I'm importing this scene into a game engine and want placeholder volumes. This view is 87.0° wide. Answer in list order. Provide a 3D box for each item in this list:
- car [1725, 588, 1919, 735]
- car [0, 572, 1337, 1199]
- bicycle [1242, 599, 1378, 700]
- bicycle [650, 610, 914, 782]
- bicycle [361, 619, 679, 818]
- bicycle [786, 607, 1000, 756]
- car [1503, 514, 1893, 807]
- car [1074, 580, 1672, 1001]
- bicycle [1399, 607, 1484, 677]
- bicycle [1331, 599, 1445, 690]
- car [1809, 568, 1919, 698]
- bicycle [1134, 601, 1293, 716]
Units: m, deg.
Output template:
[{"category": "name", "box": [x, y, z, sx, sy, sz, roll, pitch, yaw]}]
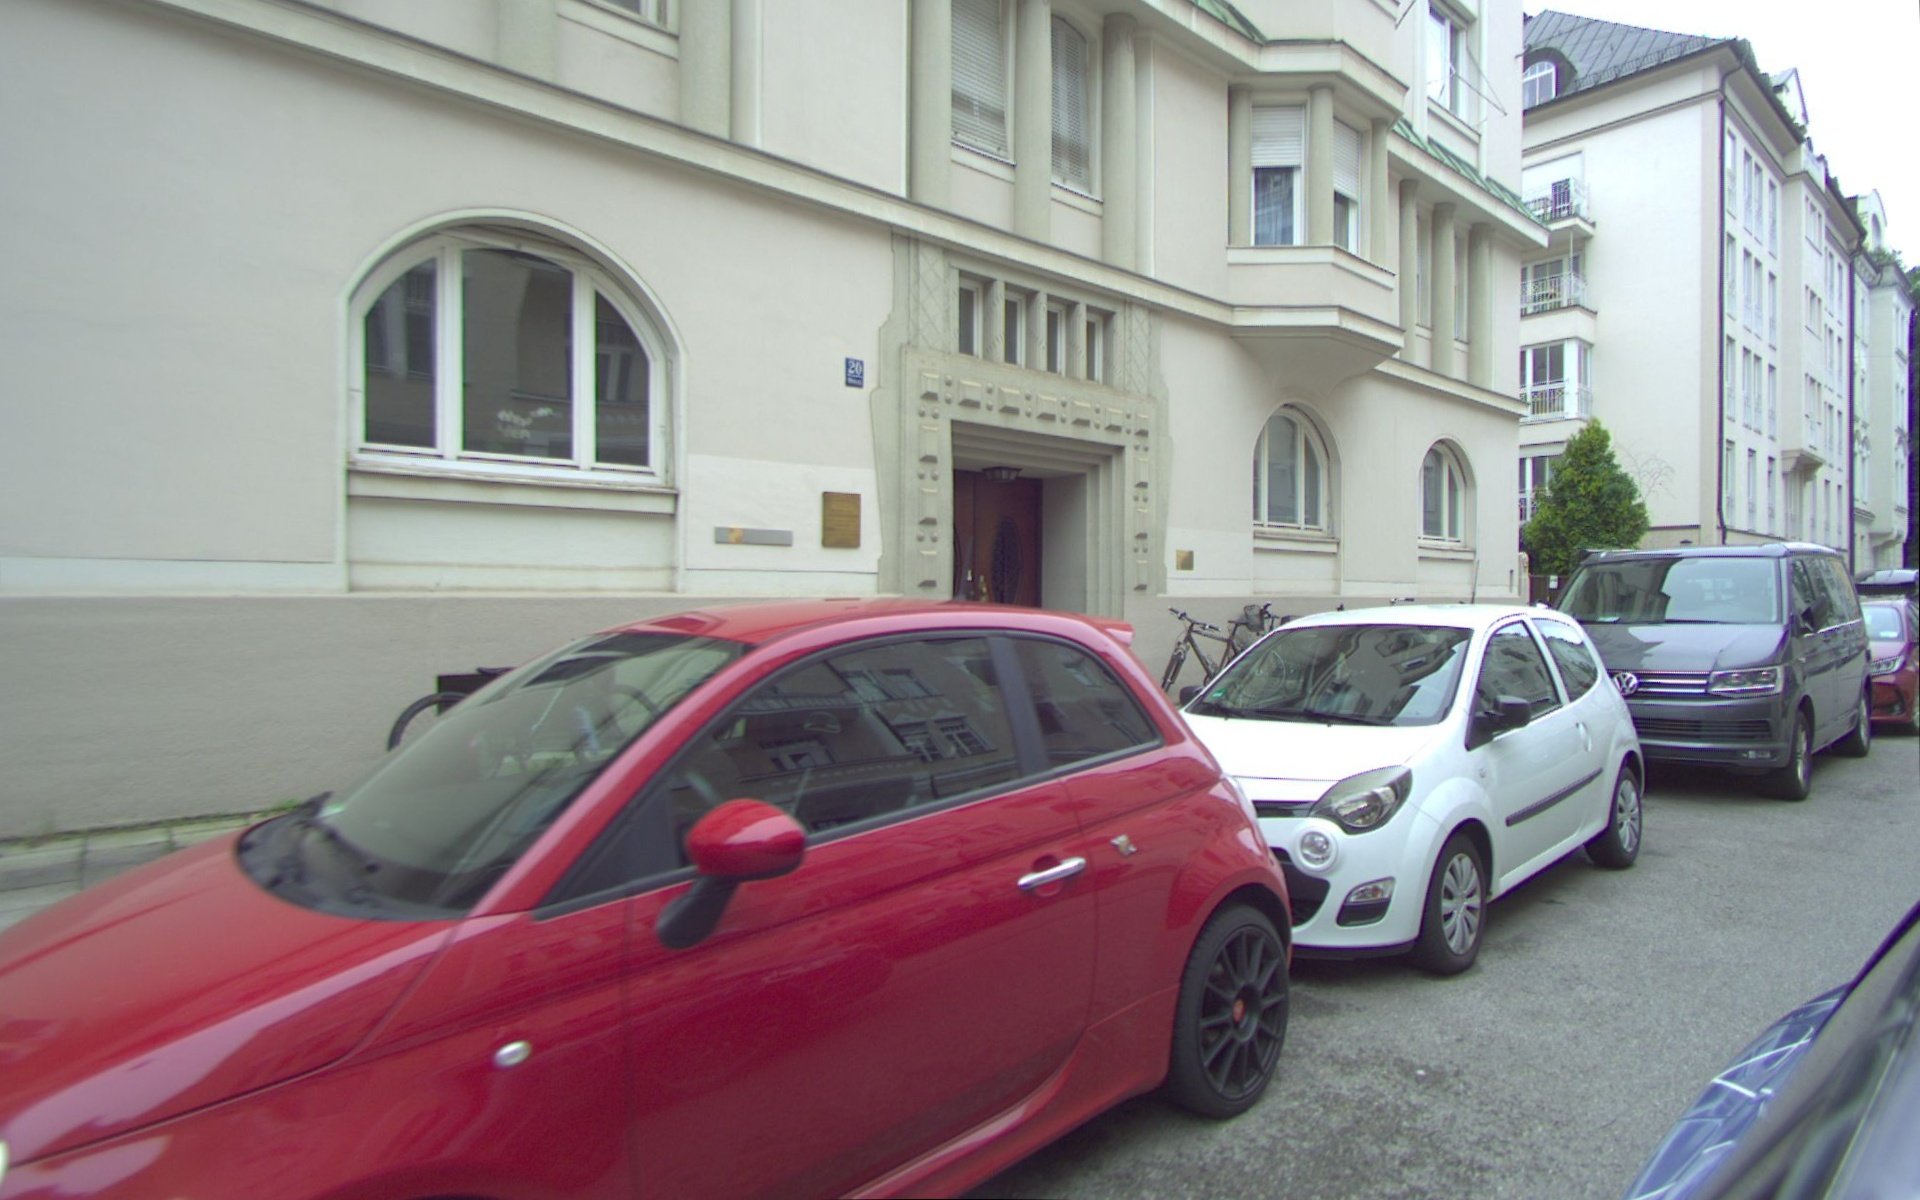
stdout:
[{"category": "car", "box": [10.631, 0.606, 12.004, 3.672, 1.485, 1.730, -1, 0, -40]}, {"category": "car", "box": [-0.576, 0.716, 2.653, 3.443, 1.490, 1.495, 0, -1, -42]}, {"category": "bicycle", "box": [4.417, 0.577, 12.708, 1.933, 1.131, 0.719, -1, 2, -41]}, {"category": "bicycle", "box": [-1.312, 0.660, 7.731, 1.933, 1.131, 0.642, -1, 0, -40]}, {"category": "bicycle", "box": [-2.819, 0.692, 6.600, 1.805, 1.060, 0.642, -1, 2, -40]}, {"category": "bicycle", "box": [-0.536, 0.646, 8.739, 1.933, 1.131, 0.493, -1, 0, -41]}, {"category": "car", "box": [6.737, 0.403, 9.024, 4.583, 1.961, 1.878, 0, -1, -42]}, {"category": "car", "box": [2.374, 0.672, 5.364, 3.612, 1.490, 1.495, 0, -1, -42]}, {"category": "bicycle", "box": [7.353, 0.614, 15.429, 1.787, 0.970, 0.539, -1, 0, -43]}, {"category": "bicycle", "box": [5.941, 0.577, 14.009, 1.852, 1.131, 0.719, -1, 2, -41]}, {"category": "car", "box": [14.365, 0.440, 15.392, 3.396, 1.800, 1.682, -1, 0, -40]}, {"category": "bicycle", "box": [2.881, 0.606, 11.390, 1.933, 1.131, 0.719, -1, 3, -41]}]
